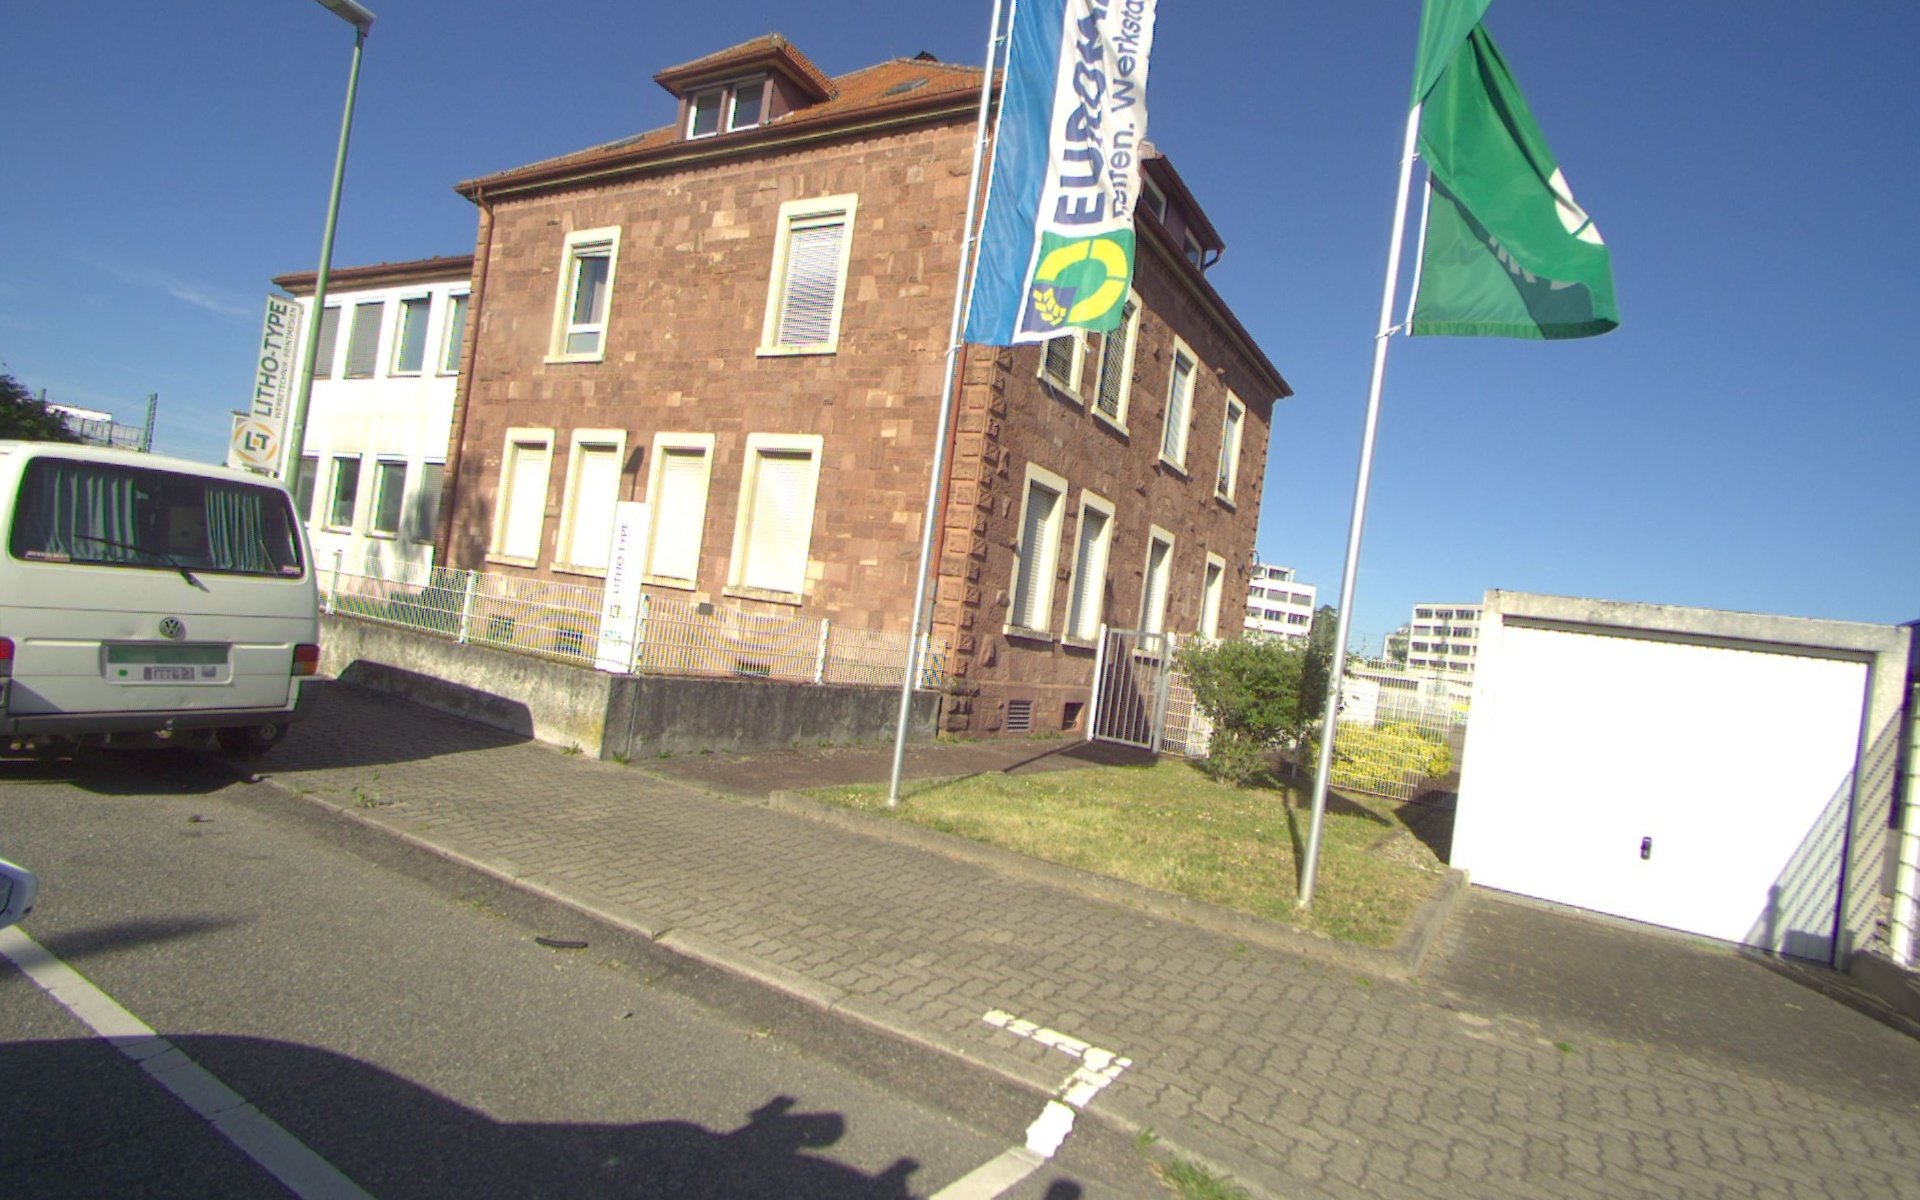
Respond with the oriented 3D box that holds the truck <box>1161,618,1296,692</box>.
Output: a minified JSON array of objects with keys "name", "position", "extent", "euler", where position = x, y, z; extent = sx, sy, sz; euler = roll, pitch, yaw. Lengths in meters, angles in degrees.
[{"name":"truck","position":[17.266,3.546,64.647],"extent":[8.067,3.605,2.454],"euler":[9,-2,-19]}]

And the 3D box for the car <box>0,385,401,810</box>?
[{"name":"car","position":[-6.304,-0.113,6.898],"extent":[5.075,2.035,1.879],"euler":[6,-4,32]}]
